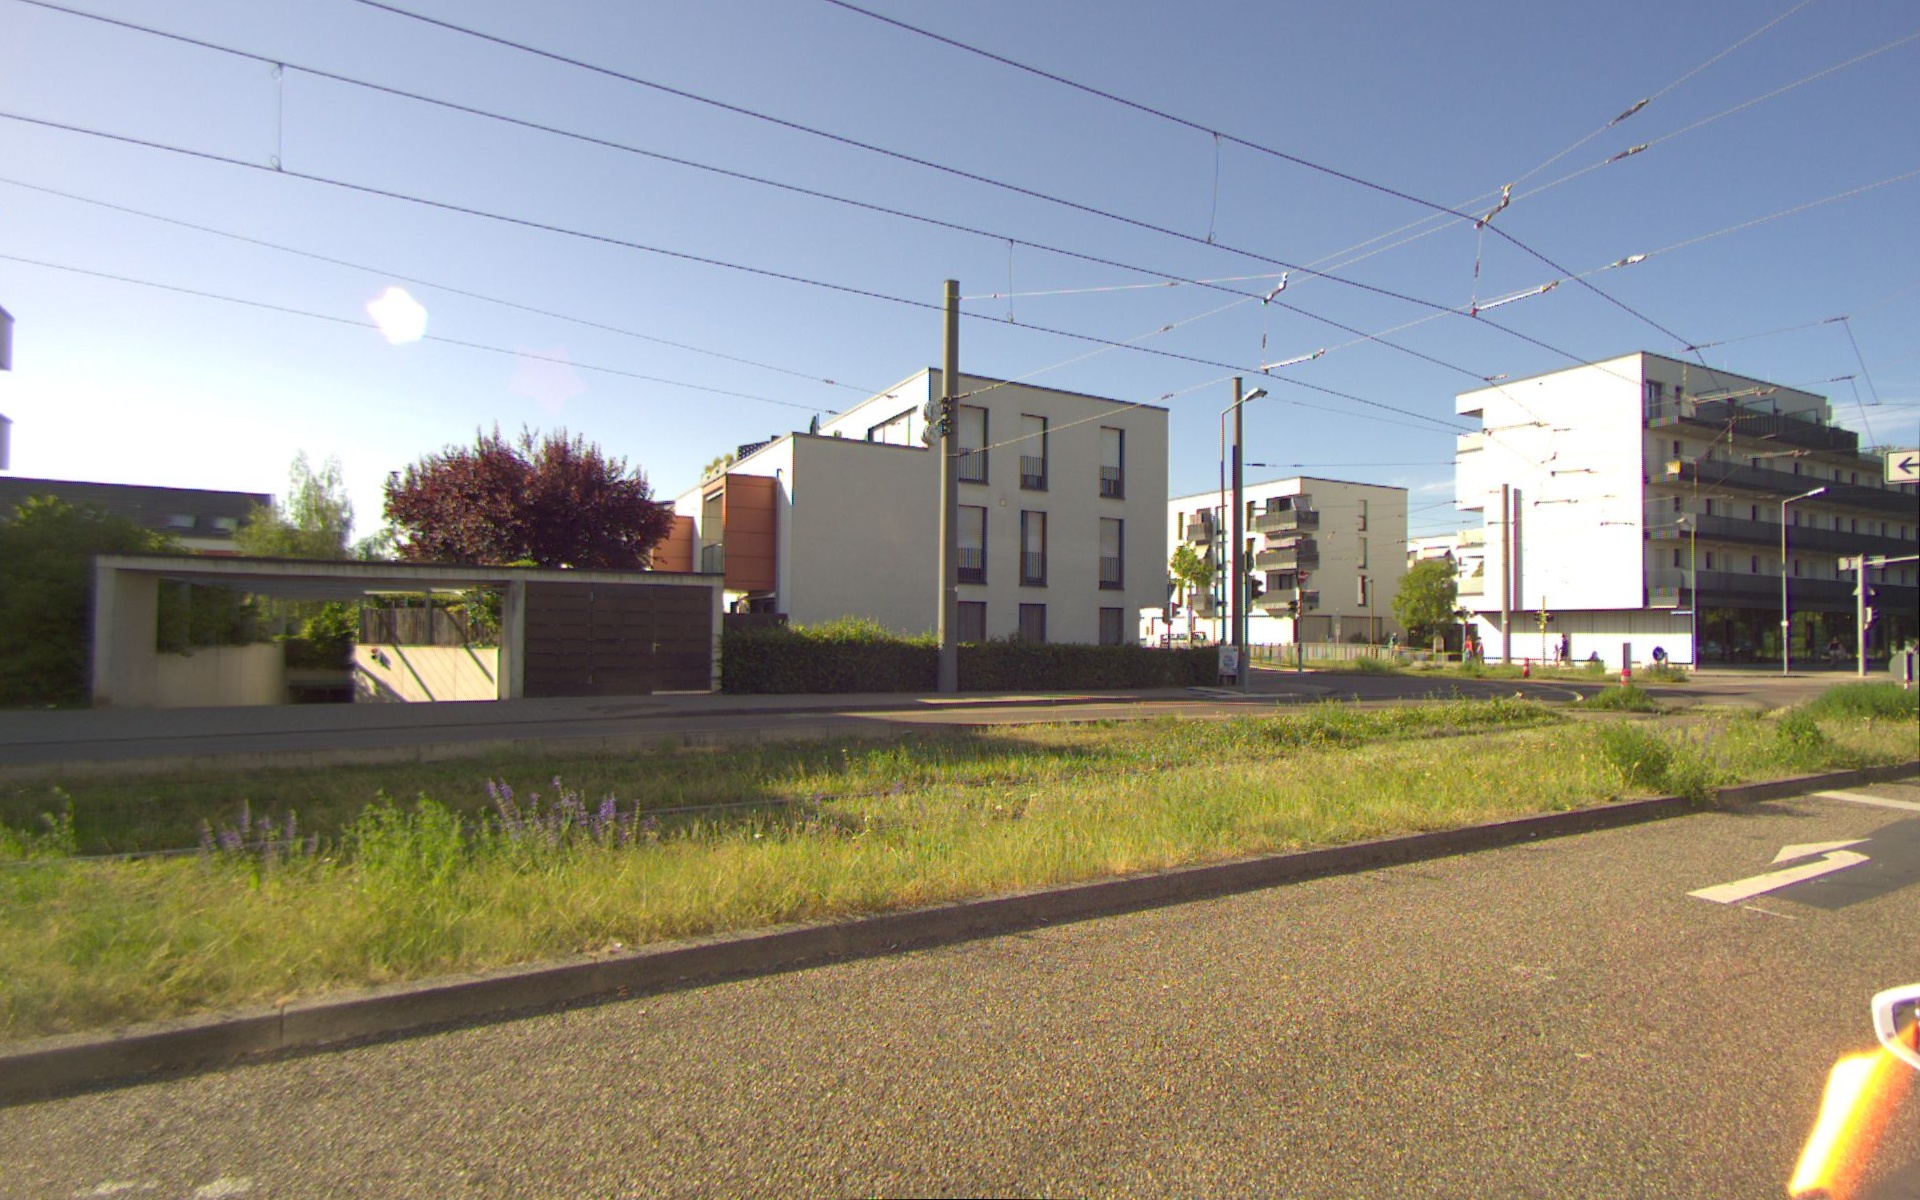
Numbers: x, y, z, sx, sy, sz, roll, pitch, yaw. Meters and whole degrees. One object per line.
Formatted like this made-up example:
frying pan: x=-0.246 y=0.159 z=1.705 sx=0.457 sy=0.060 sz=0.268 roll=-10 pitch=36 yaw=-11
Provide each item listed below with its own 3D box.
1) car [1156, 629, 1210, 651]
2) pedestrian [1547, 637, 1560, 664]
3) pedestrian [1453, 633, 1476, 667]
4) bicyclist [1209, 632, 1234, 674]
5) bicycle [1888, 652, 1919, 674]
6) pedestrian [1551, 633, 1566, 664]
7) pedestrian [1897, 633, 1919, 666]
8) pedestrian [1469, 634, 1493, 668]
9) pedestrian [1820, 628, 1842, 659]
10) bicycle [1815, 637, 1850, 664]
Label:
car: x=17.792 y=3.184 z=80.292 sx=1.974 sy=1.595 sz=4.309 roll=2 pitch=0 yaw=-27
pedestrian: x=33.432 y=2.850 z=56.582 sx=0.513 sy=1.523 sz=0.438 roll=2 pitch=0 yaw=-35
pedestrian: x=25.480 y=2.517 z=50.702 sx=0.736 sy=1.626 sz=0.765 roll=2 pitch=0 yaw=-37
bicyclist: x=10.357 y=2.093 z=39.780 sx=0.769 sy=1.635 sz=0.641 roll=2 pitch=0 yaw=1
bicycle: x=45.104 y=2.991 z=47.587 sx=2.397 sy=1.002 sz=0.769 roll=2 pitch=0 yaw=-23
pedestrian: x=33.899 y=2.739 z=56.868 sx=0.513 sy=1.767 sz=0.539 roll=2 pitch=0 yaw=-35
pedestrian: x=45.166 y=2.355 z=47.622 sx=0.940 sy=1.493 sz=0.710 roll=2 pitch=0 yaw=-23
pedestrian: x=25.938 y=2.527 z=50.002 sx=0.736 sy=1.626 sz=0.765 roll=2 pitch=0 yaw=-37
pedestrian: x=45.054 y=2.241 z=51.948 sx=0.588 sy=1.529 sz=0.641 roll=2 pitch=0 yaw=-24
bicycle: x=45.178 y=2.606 z=52.015 sx=1.886 sy=1.350 sz=0.628 roll=2 pitch=0 yaw=-24
